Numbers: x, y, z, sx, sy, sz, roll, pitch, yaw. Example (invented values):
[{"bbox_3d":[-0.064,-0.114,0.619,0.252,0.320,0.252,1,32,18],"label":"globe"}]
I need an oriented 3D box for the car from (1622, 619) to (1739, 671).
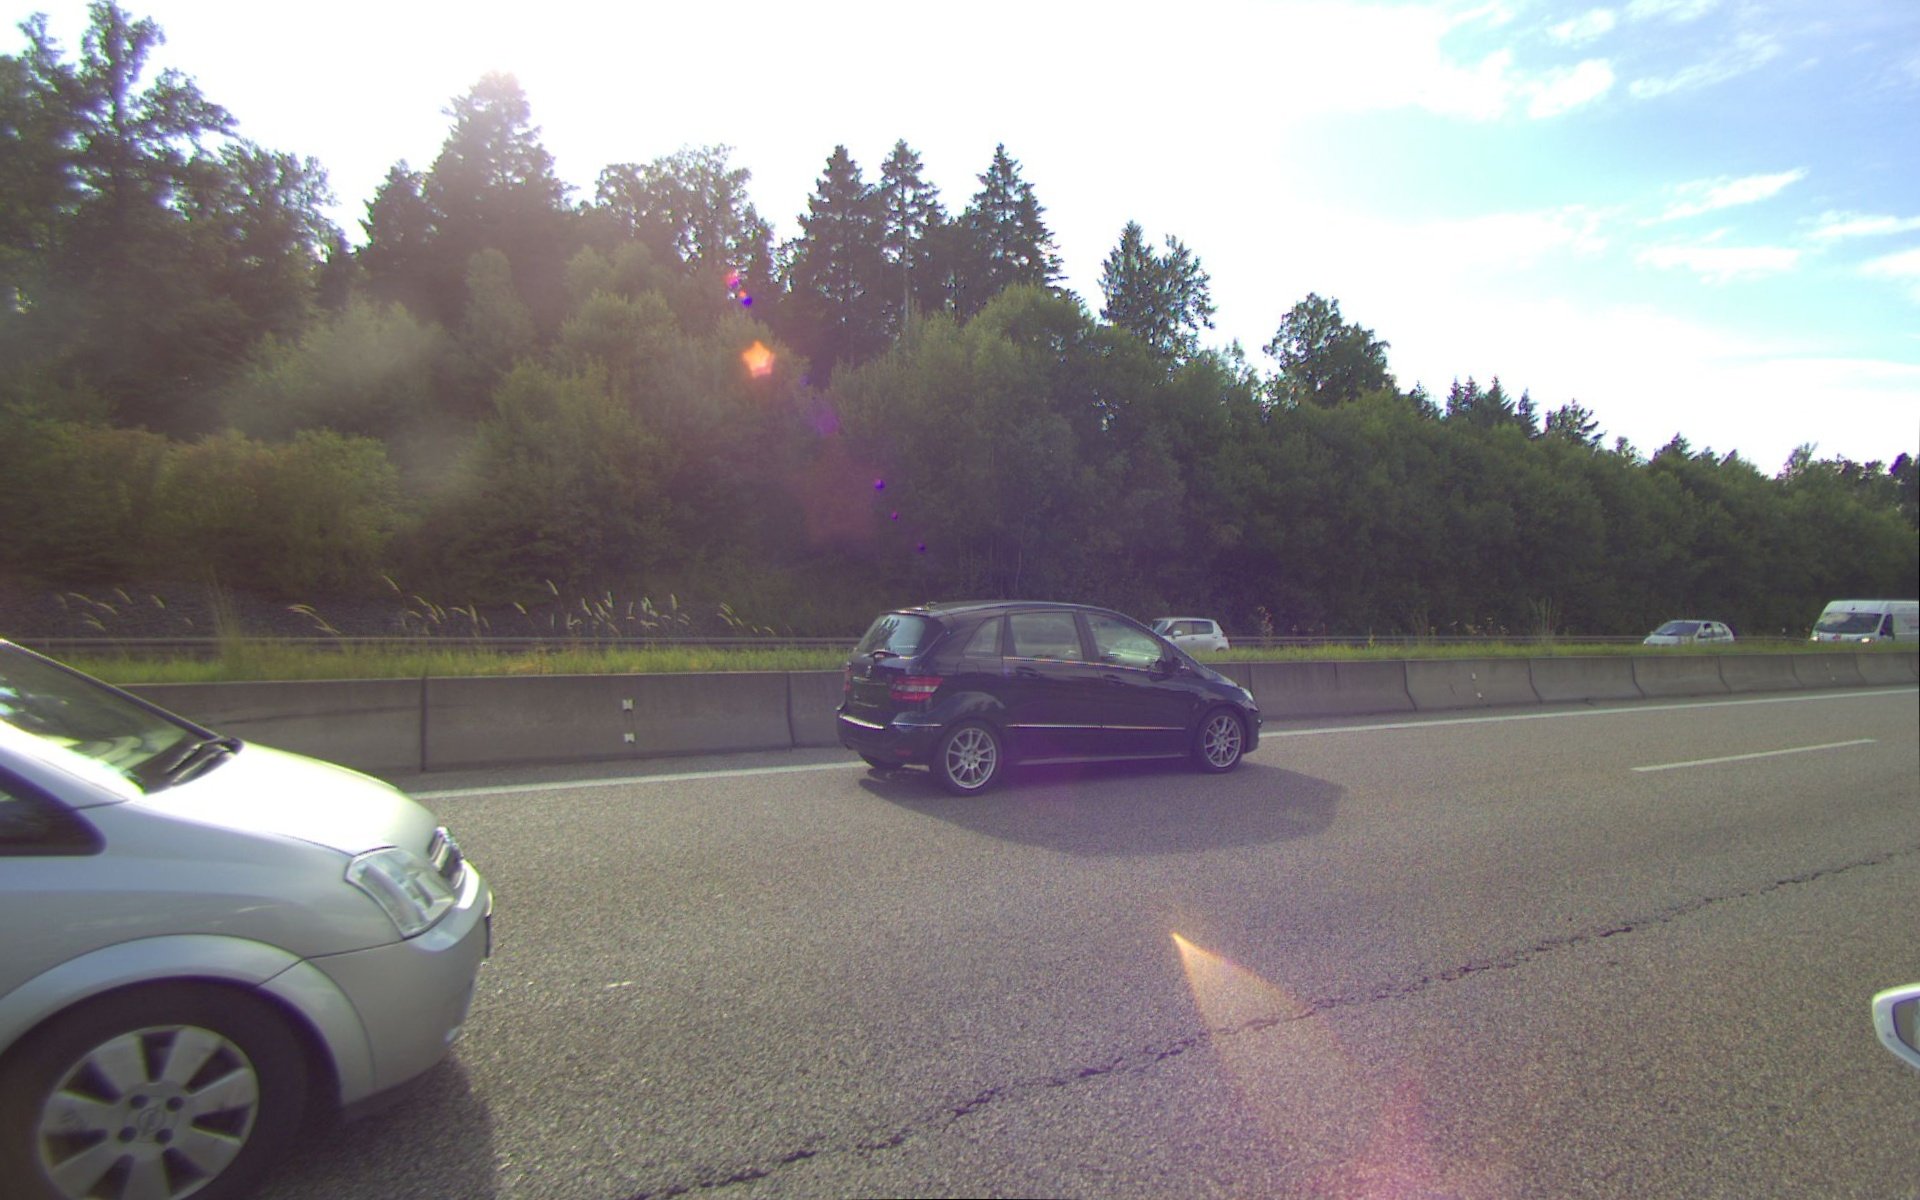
[{"bbox_3d":[26.935,1.650,37.512,4.440,1.829,1.915,1,-1,-30],"label":"car"}]

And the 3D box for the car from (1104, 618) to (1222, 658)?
[{"bbox_3d":[5.907,1.089,29.214,3.135,1.108,1.584,1,-1,-30],"label":"car"}]

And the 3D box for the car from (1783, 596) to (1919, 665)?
[{"bbox_3d":[33.594,1.113,37.517,5.760,2.377,2.567,1,-1,-30],"label":"car"}]

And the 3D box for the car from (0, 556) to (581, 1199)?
[{"bbox_3d":[-3.324,0.662,2.425,4.282,1.537,1.827,1,-1,-30],"label":"car"}]

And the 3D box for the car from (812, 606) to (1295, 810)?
[{"bbox_3d":[0.948,0.858,9.454,4.282,1.537,1.827,1,-1,-30],"label":"car"}]
